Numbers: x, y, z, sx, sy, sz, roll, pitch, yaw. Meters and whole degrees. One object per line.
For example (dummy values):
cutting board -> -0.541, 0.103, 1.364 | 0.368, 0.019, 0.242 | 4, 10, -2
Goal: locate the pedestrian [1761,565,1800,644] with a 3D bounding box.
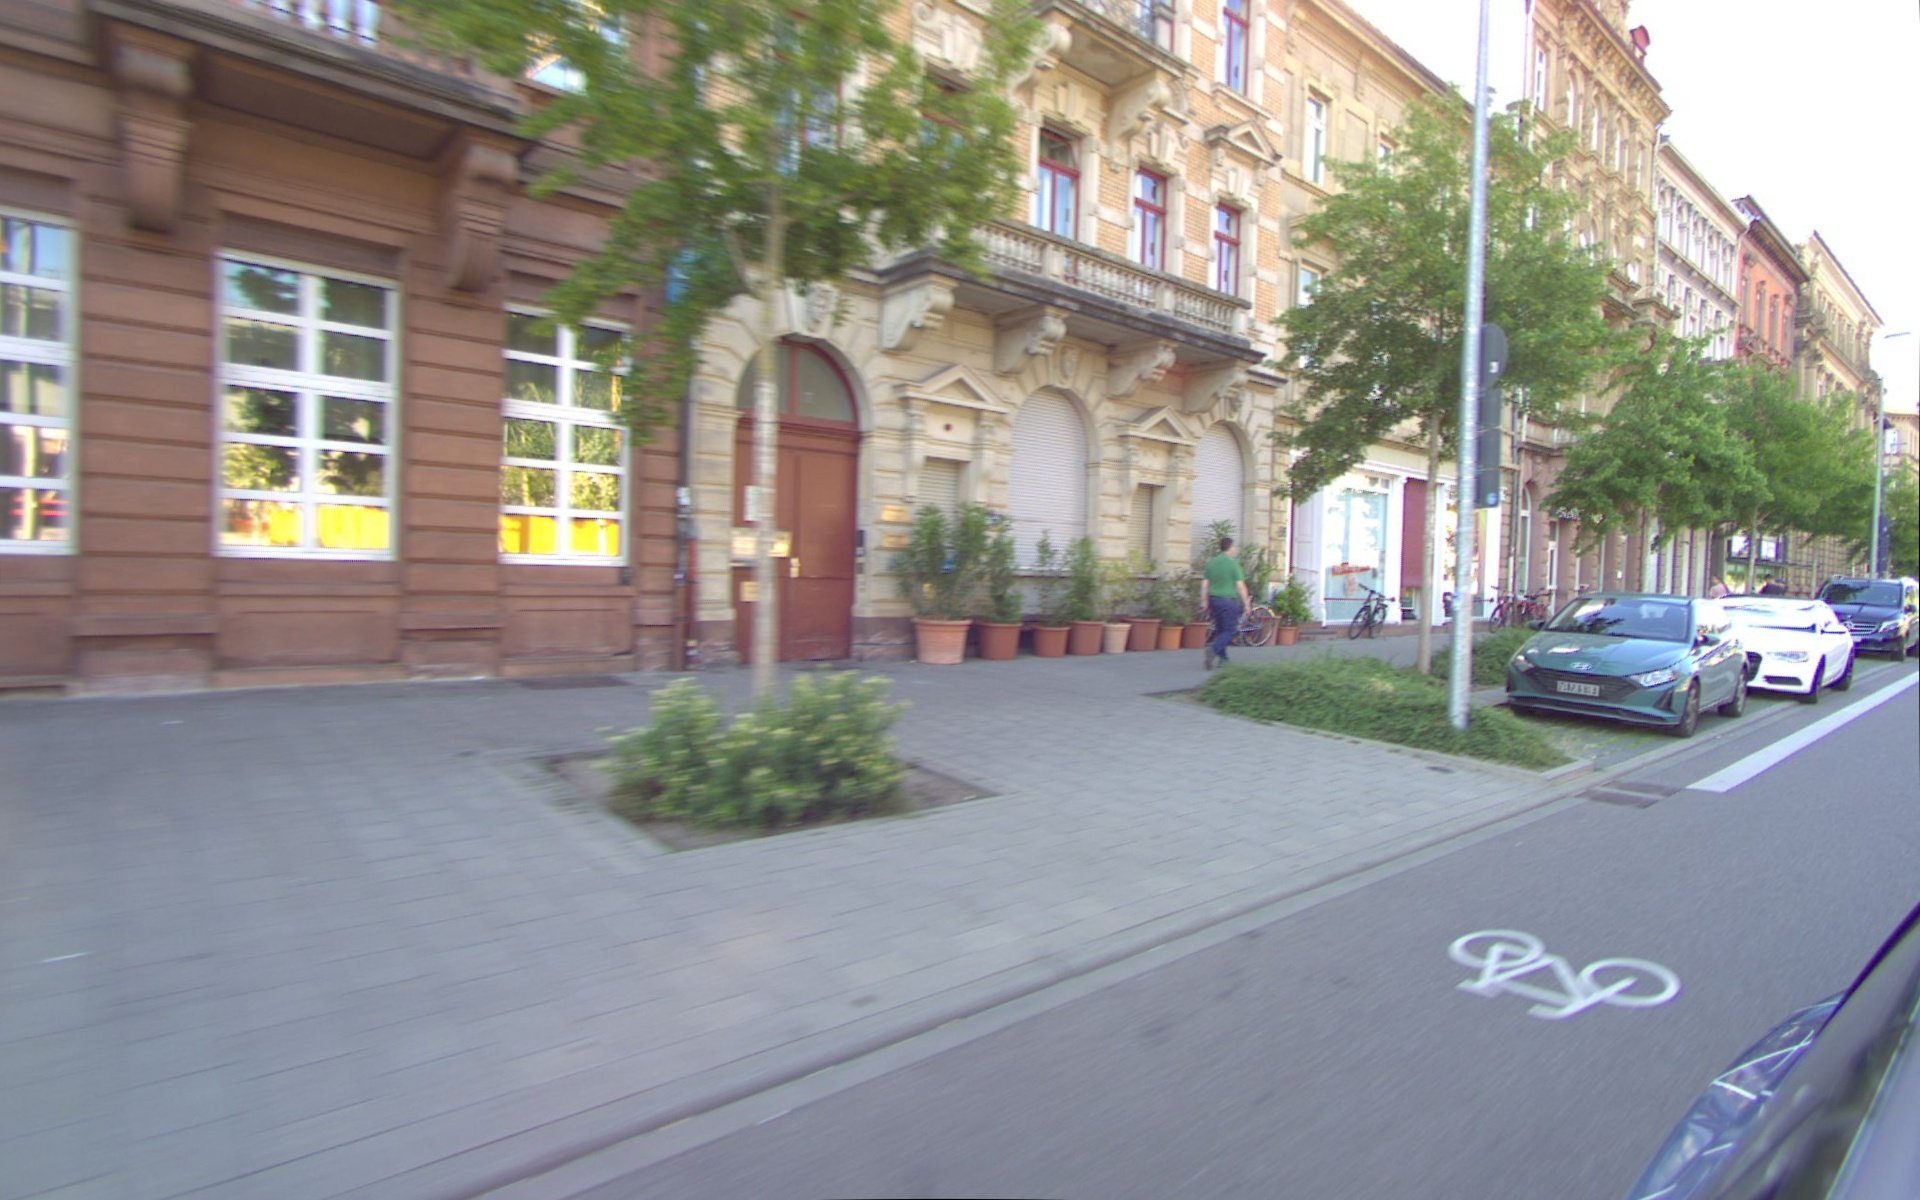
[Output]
pedestrian -> 18.943, 0.087, 23.364 | 0.495, 1.800, 0.473 | 1, 1, -22

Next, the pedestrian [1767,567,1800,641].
pedestrian -> 19.641, 0.089, 24.129 | 0.482, 1.749, 0.505 | 0, 1, -42

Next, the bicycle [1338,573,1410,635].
bicycle -> 8.593, 0.065, 20.975 | 1.744, 1.210, 0.719 | 0, 2, -45

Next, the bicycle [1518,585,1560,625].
bicycle -> 15.753, 0.133, 27.523 | 2.037, 1.046, 0.343 | 0, 2, -42

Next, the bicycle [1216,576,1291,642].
bicycle -> 5.069, 0.147, 17.432 | 1.647, 1.093, 0.385 | 0, 1, -41

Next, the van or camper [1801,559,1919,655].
van or camper -> 22.348, 0.122, 24.608 | 5.391, 1.995, 1.966 | 0, 4, -41

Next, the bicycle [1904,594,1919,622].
bicycle -> 40.160, 0.355, 41.816 | 0.566, 1.132, 1.584 | 0, 2, -39

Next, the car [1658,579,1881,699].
car -> 12.660, 0.488, 15.690 | 5.163, 1.471, 1.852 | 0, 4, -42

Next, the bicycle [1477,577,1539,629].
bicycle -> 13.831, 0.059, 25.505 | 2.037, 1.235, 0.706 | 0, 2, -42

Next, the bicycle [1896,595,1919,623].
bicycle -> 39.153, 0.383, 41.014 | 0.521, 1.132, 1.693 | 0, 2, -39

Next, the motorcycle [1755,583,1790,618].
motorcycle -> 34.966, 0.007, 43.564 | 2.018, 1.439, 0.788 | 0, 2, -41

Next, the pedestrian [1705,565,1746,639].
pedestrian -> 18.448, 0.043, 24.382 | 0.566, 1.749, 0.482 | 1, 1, 4

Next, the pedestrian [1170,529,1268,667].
pedestrian -> 3.501, -0.049, 13.661 | 1.053, 1.776, 0.749 | 0, 3, -41

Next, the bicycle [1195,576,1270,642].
bicycle -> 4.778, 0.145, 17.693 | 1.647, 1.093, 0.385 | 0, 1, -41

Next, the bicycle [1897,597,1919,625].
bicycle -> 38.221, 0.446, 40.018 | 0.469, 1.065, 1.614 | 0, 2, -39

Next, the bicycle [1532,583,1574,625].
bicycle -> 15.981, 0.098, 27.258 | 2.037, 1.078, 0.325 | 0, 2, -42

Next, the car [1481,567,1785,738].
car -> 8.066, 0.491, 11.982 | 4.221, 1.583, 1.853 | 0, 4, -41
